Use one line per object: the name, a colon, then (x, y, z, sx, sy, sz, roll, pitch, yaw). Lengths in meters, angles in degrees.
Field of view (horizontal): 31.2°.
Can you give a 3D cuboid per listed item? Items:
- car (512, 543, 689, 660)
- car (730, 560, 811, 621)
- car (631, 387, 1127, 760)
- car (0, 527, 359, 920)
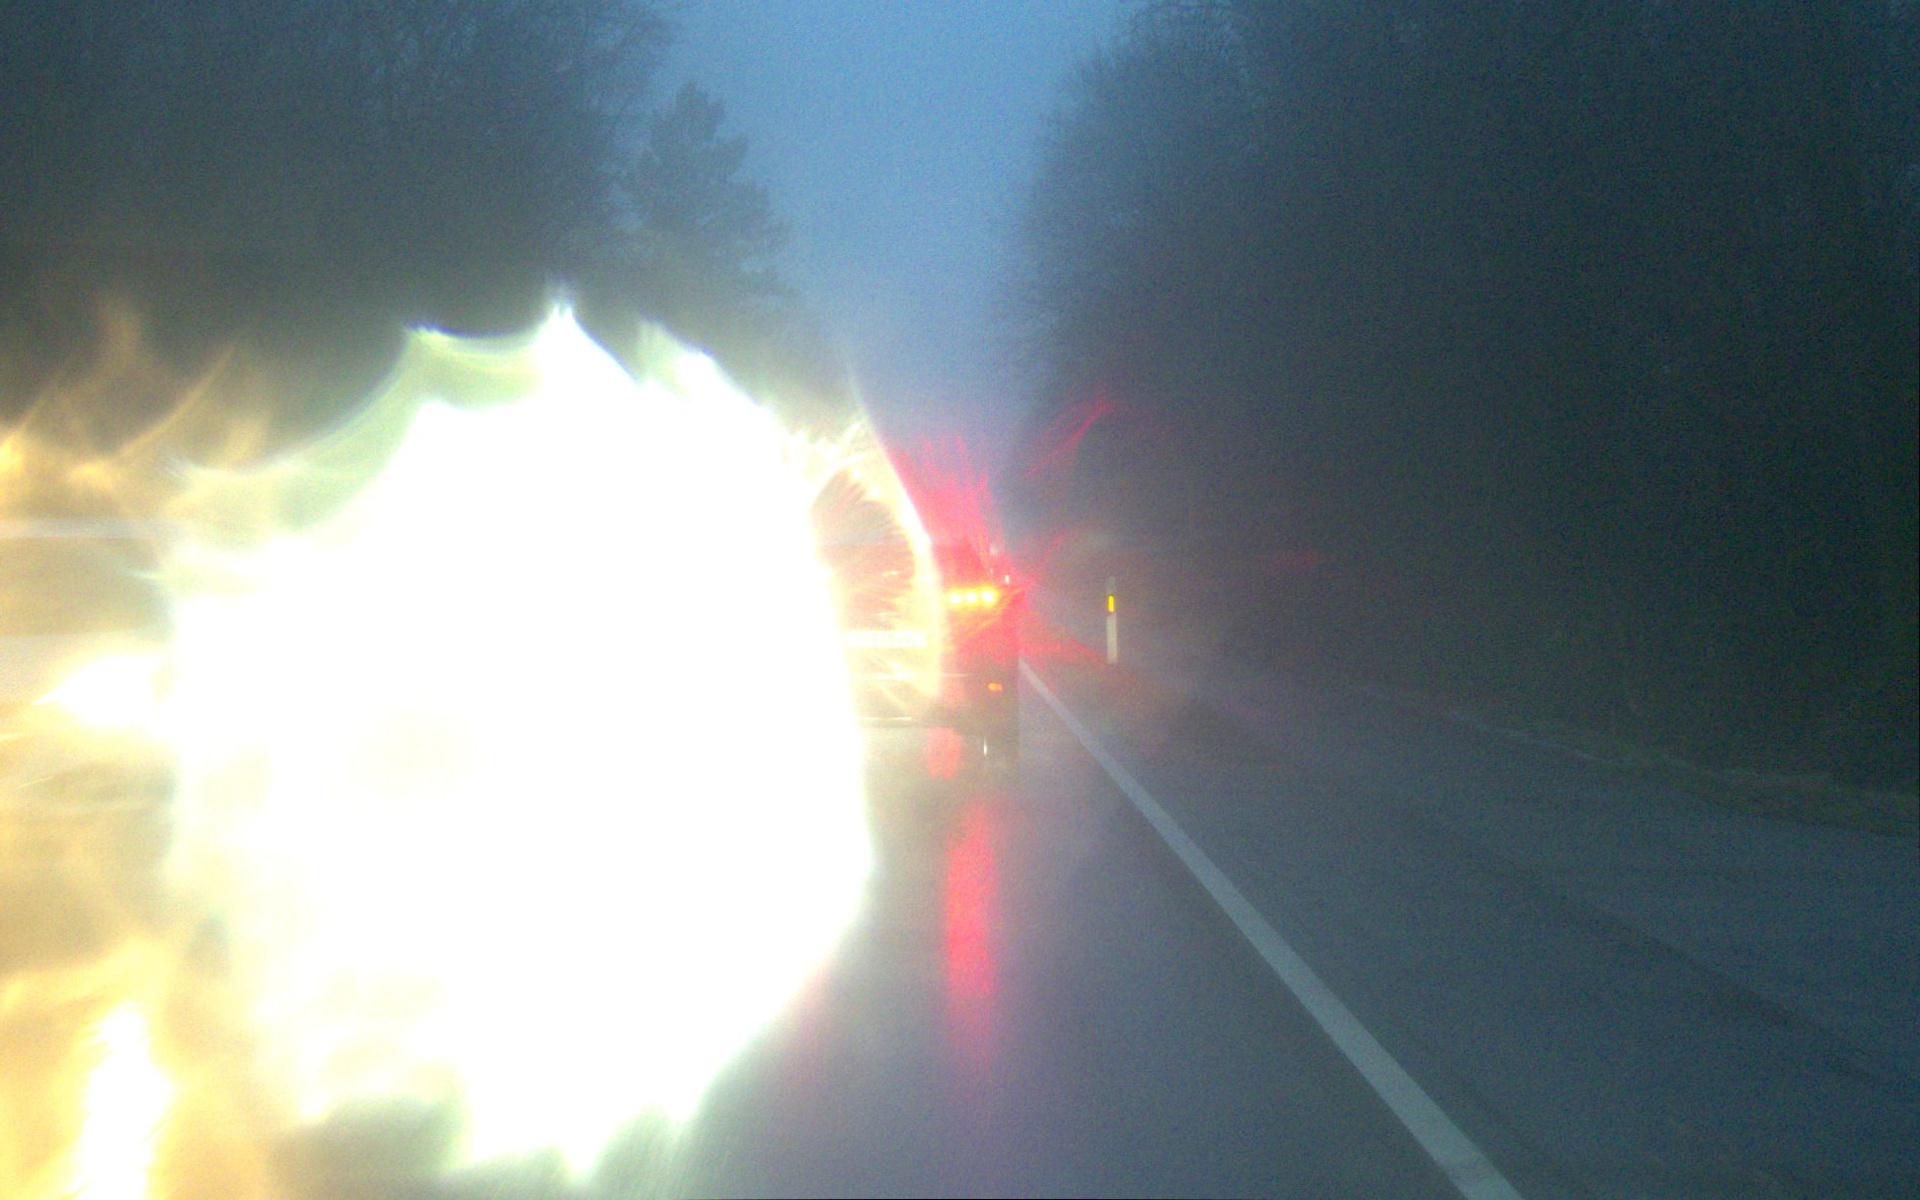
car: (-4.607, -0.016, 44.579, 1.868, 1.418, 4.387, 0, 1, -1)
car: (-5.220, -0.272, 95.002, 2.075, 1.610, 4.152, -1, 1, -1)
car: (-0.514, -0.217, 25.575, 3.183, 2.378, 6.636, 1, 1, 0)
car: (-4.279, 0.473, 16.584, 1.918, 1.603, 5.016, -1, 1, -1)
